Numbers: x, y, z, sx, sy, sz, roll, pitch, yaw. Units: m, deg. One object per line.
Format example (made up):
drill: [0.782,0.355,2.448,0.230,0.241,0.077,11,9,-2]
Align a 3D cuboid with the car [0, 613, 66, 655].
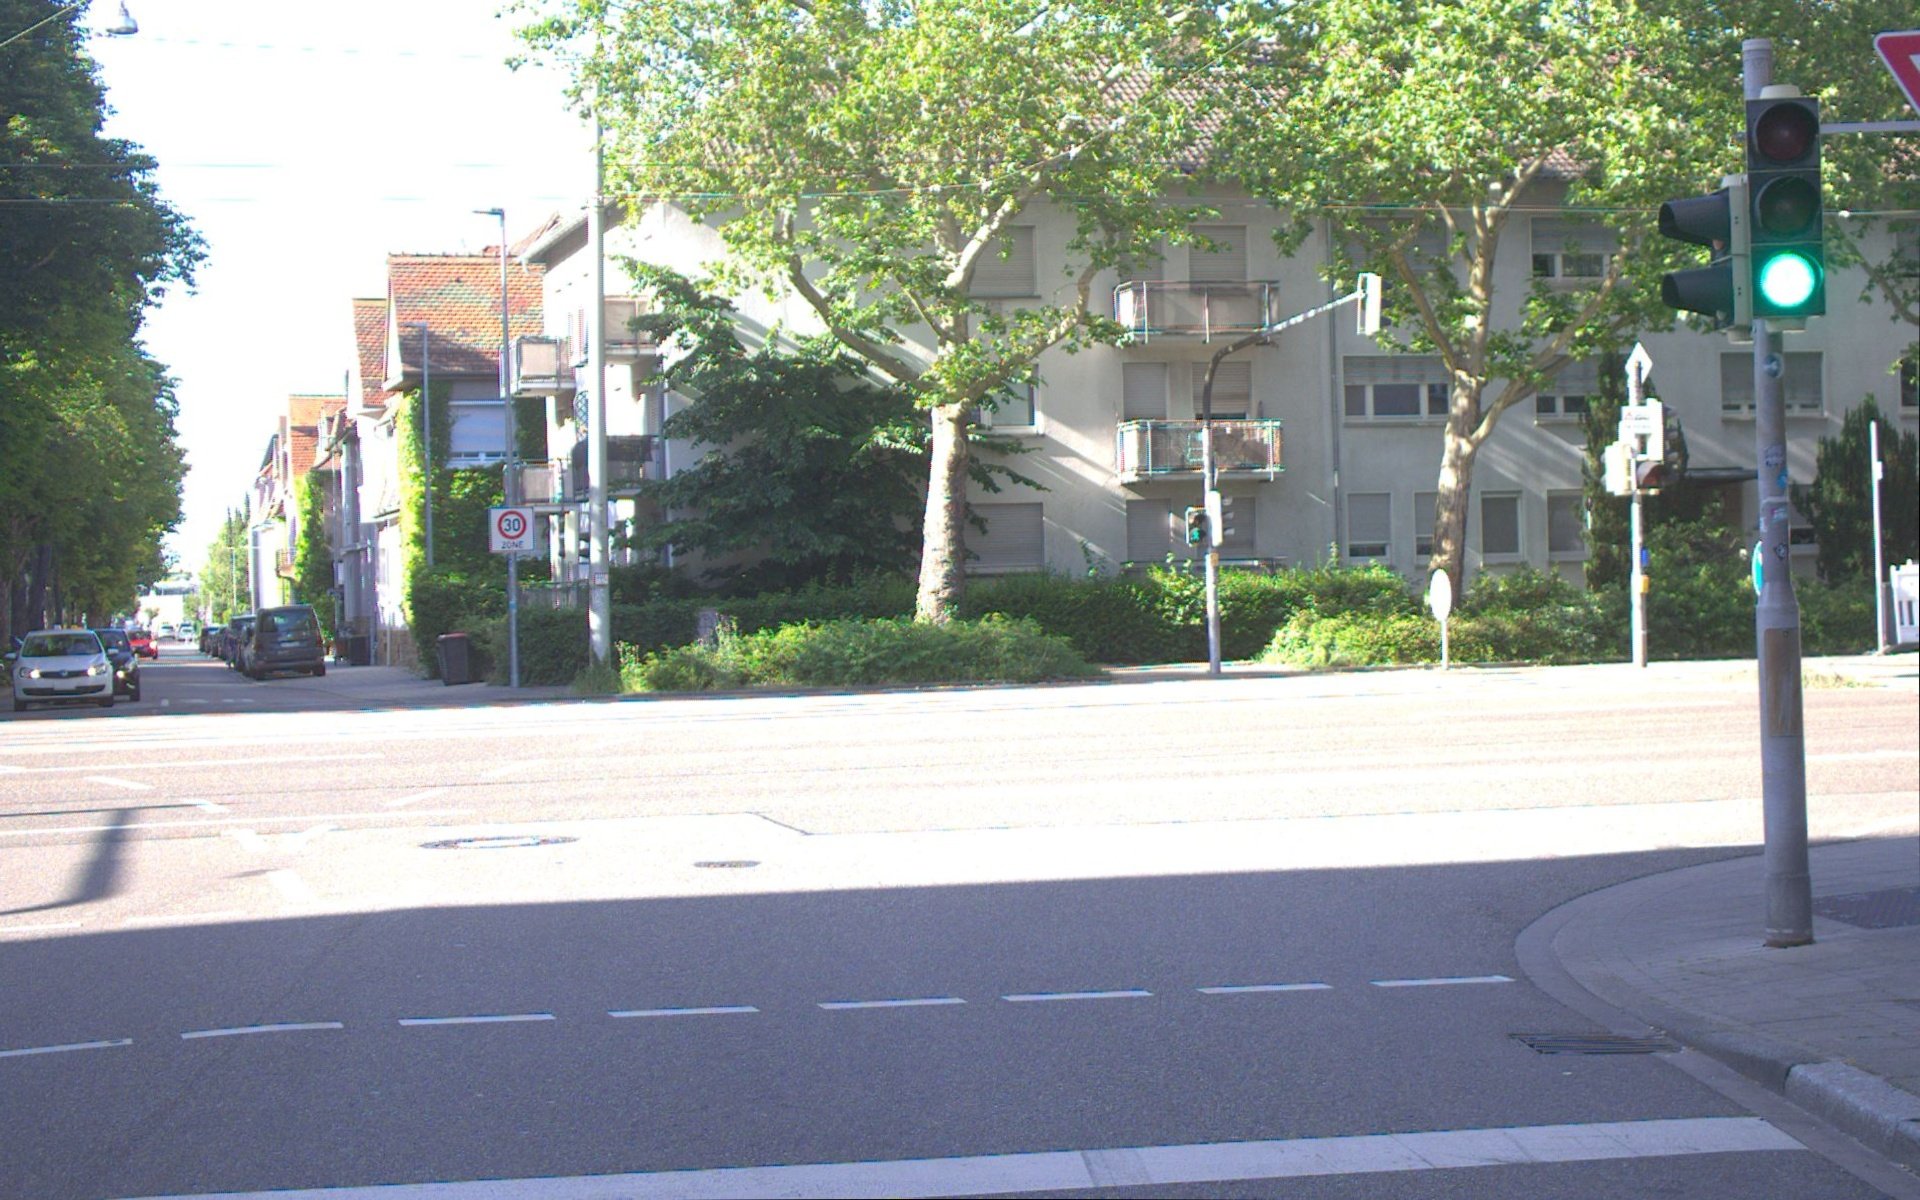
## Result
car: [-40.211,1.443,146.634,3.986,1.755,1.798,1,-1,-16]

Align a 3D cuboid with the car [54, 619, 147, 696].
car: [-17.290,1.138,69.283,1.660,1.459,3.809,-2,0,-12]

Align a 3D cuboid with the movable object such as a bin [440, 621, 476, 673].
movable object such as a bin: [-10.600,0.997,72.590,0.597,1.041,0.707,-5,1,-15]

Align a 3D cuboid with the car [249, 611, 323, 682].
car: [-18.665,1.262,95.034,1.864,1.909,4.783,0,0,-13]

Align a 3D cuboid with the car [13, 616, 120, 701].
car: [-16.405,1.084,63.254,1.806,1.453,4.001,-2,-1,-14]

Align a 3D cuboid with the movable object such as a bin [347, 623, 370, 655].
movable object such as a bin: [-20.276,1.320,115.908,0.647,1.036,0.828,-2,0,-15]

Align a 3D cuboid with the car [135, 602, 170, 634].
car: [-41.027,0.923,174.579,1.640,1.503,3.703,-3,0,-14]
